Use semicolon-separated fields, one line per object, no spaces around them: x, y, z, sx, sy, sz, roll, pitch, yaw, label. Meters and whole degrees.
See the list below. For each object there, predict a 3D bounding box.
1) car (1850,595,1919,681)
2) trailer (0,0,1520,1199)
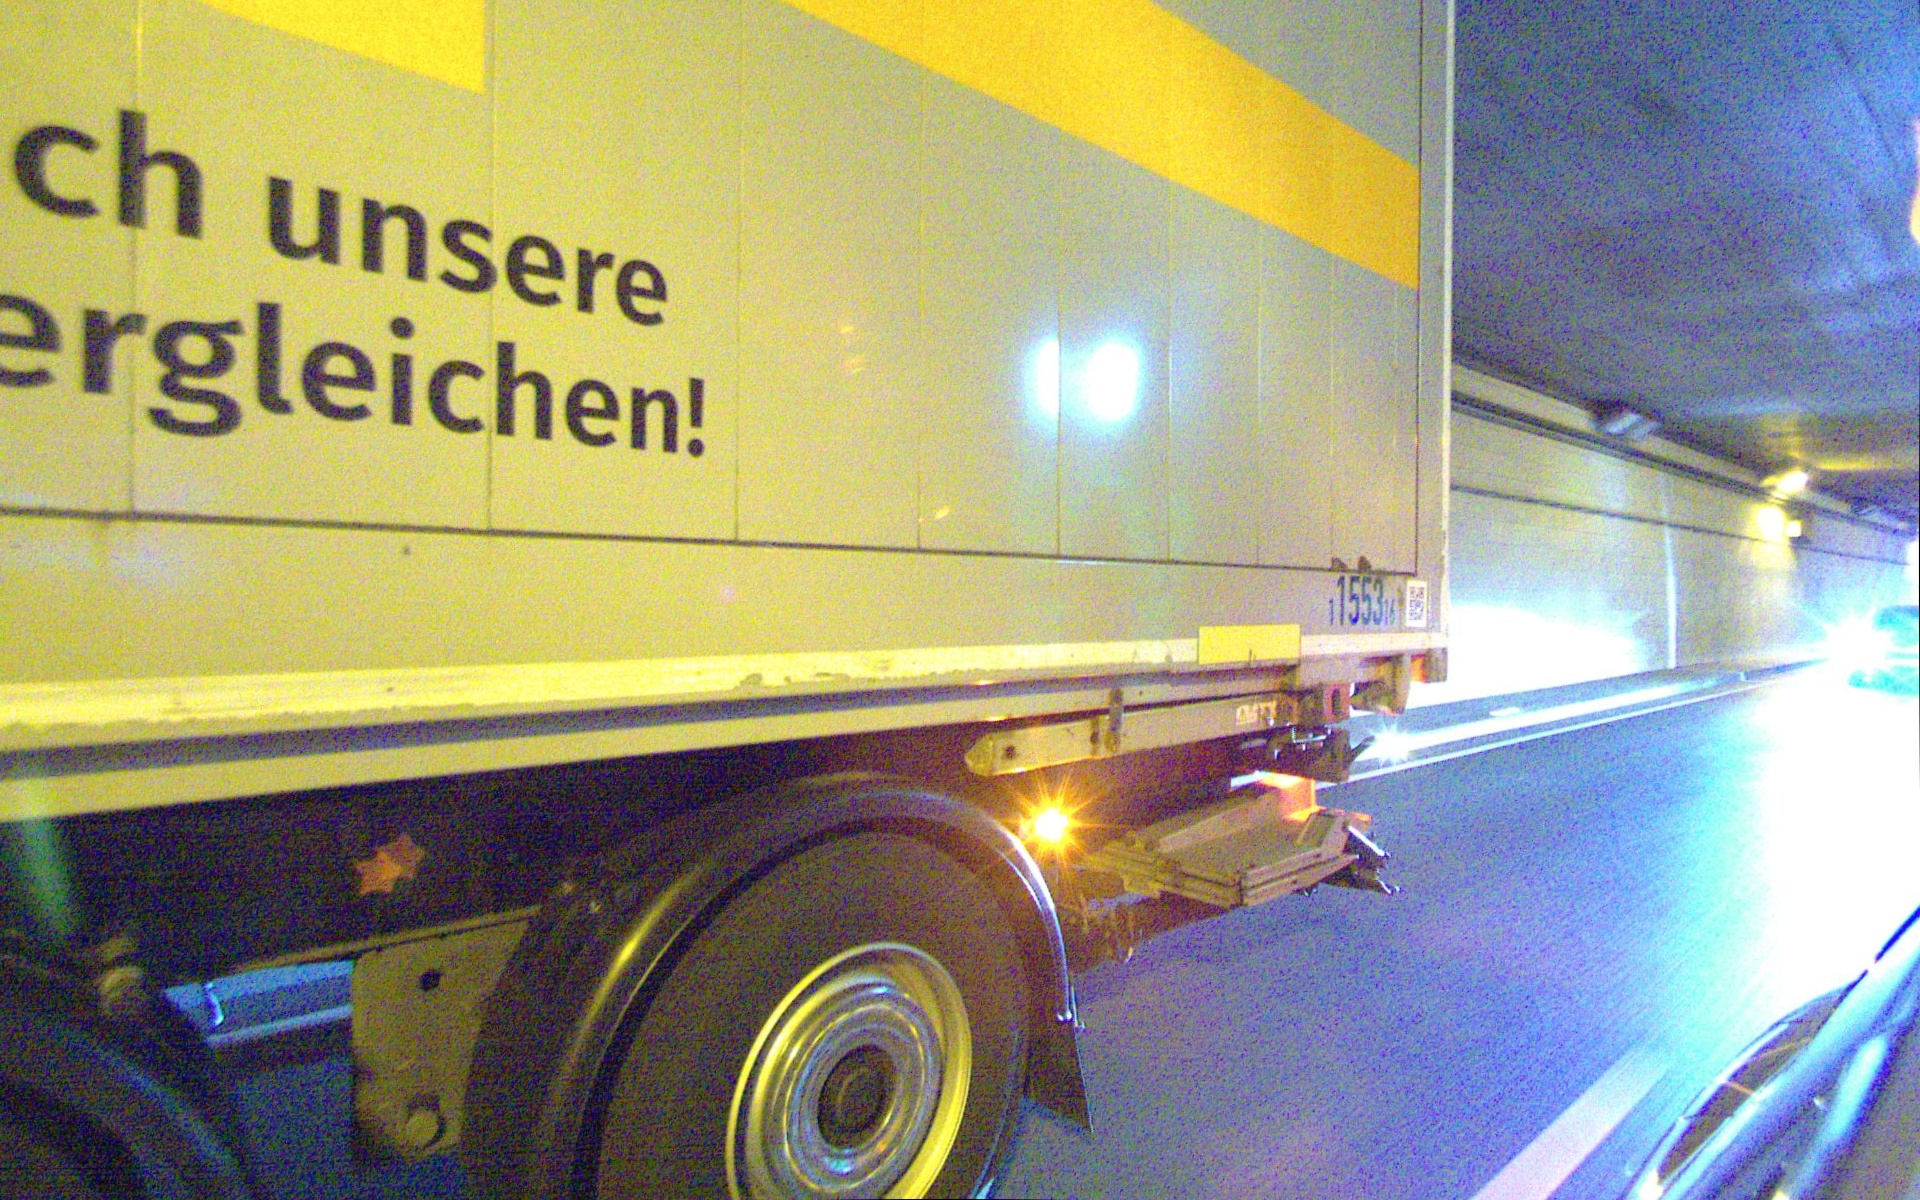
17.503;0.638;18.244;3.733;1.420;1.733;-1;1;-41;car
-2.271;-0.578;1.734;8.792;3.907;2.880;0;0;-41;trailer
